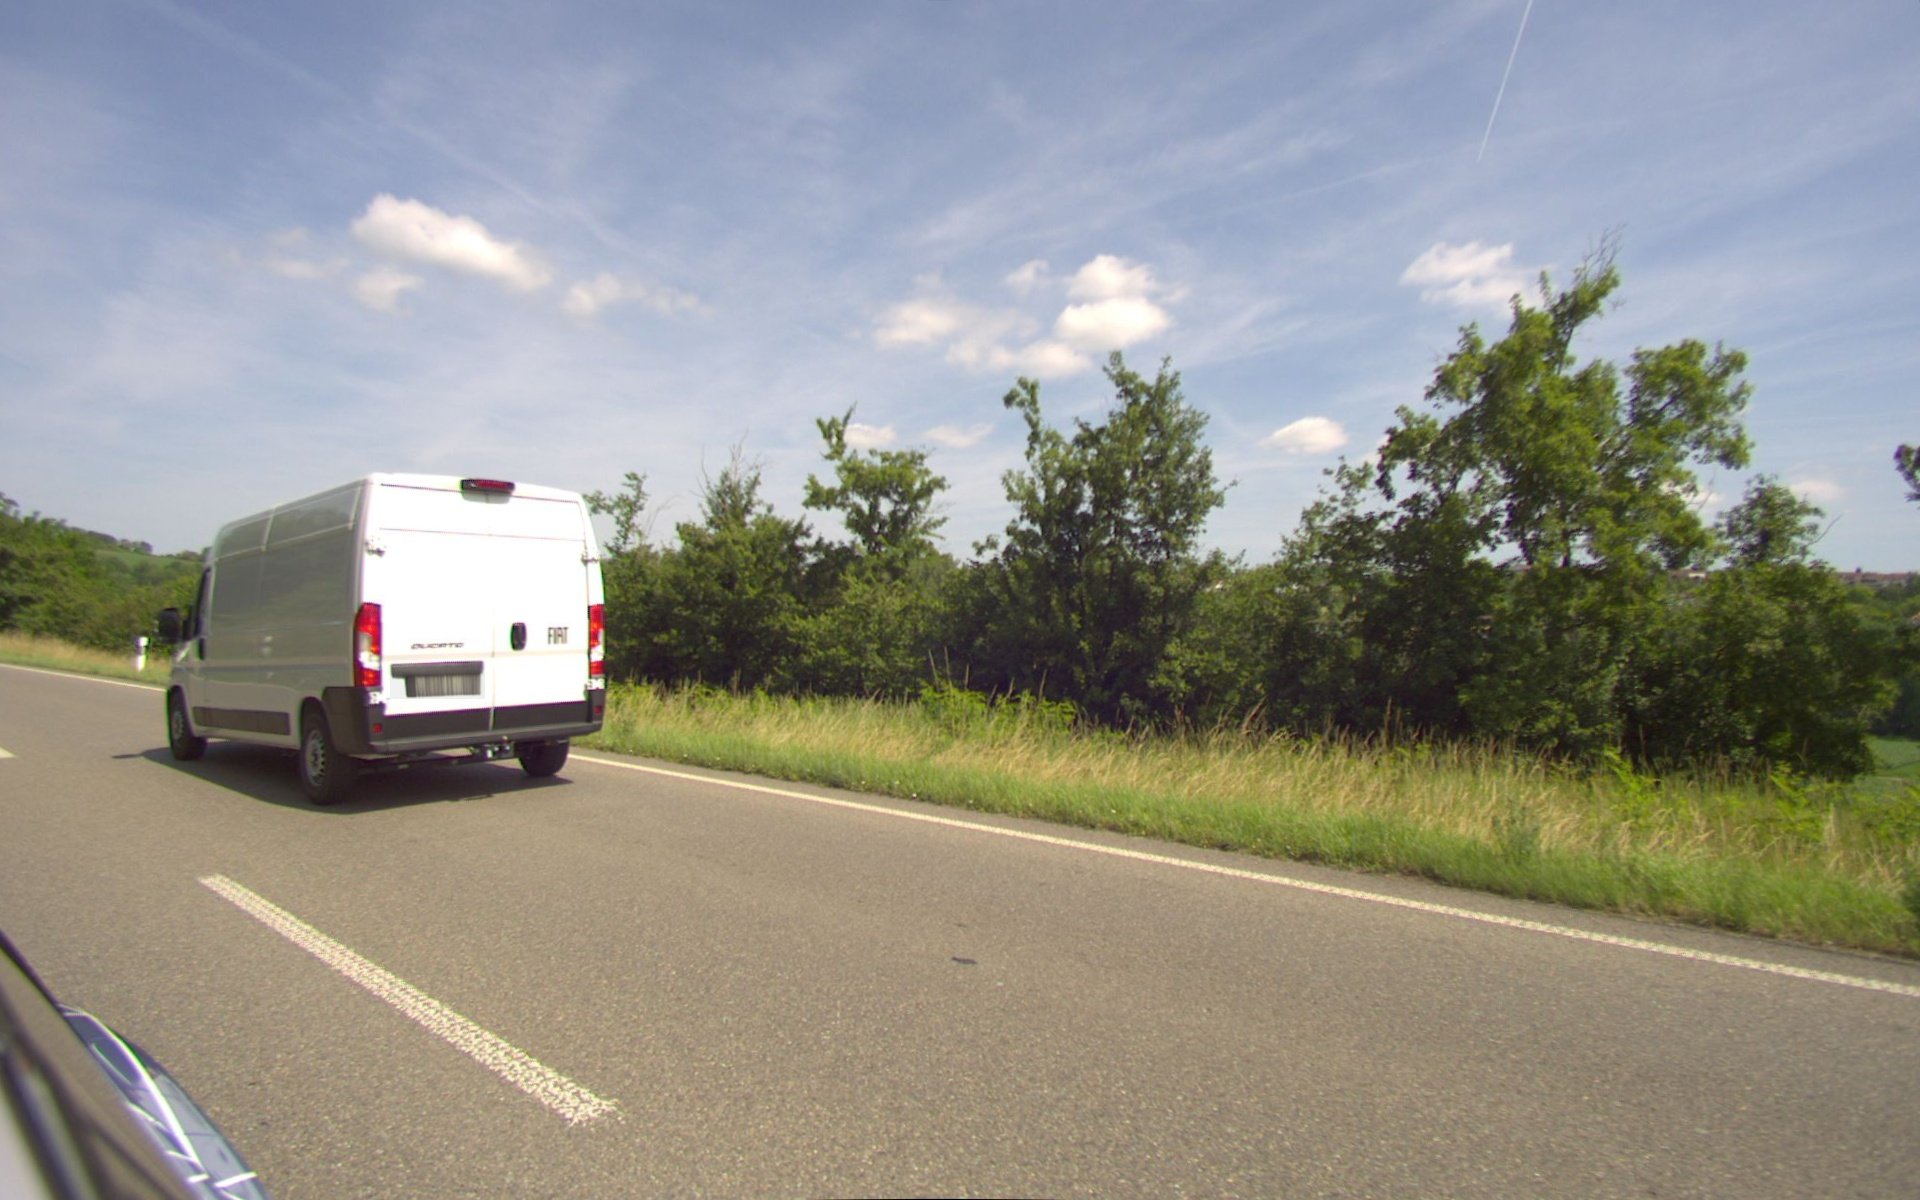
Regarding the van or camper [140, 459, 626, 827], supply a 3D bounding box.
[{"bbox_3d":[-5.887,0.345,9.847,6.129,2.547,2.185,-1,-1,41],"label":"van or camper"}]
